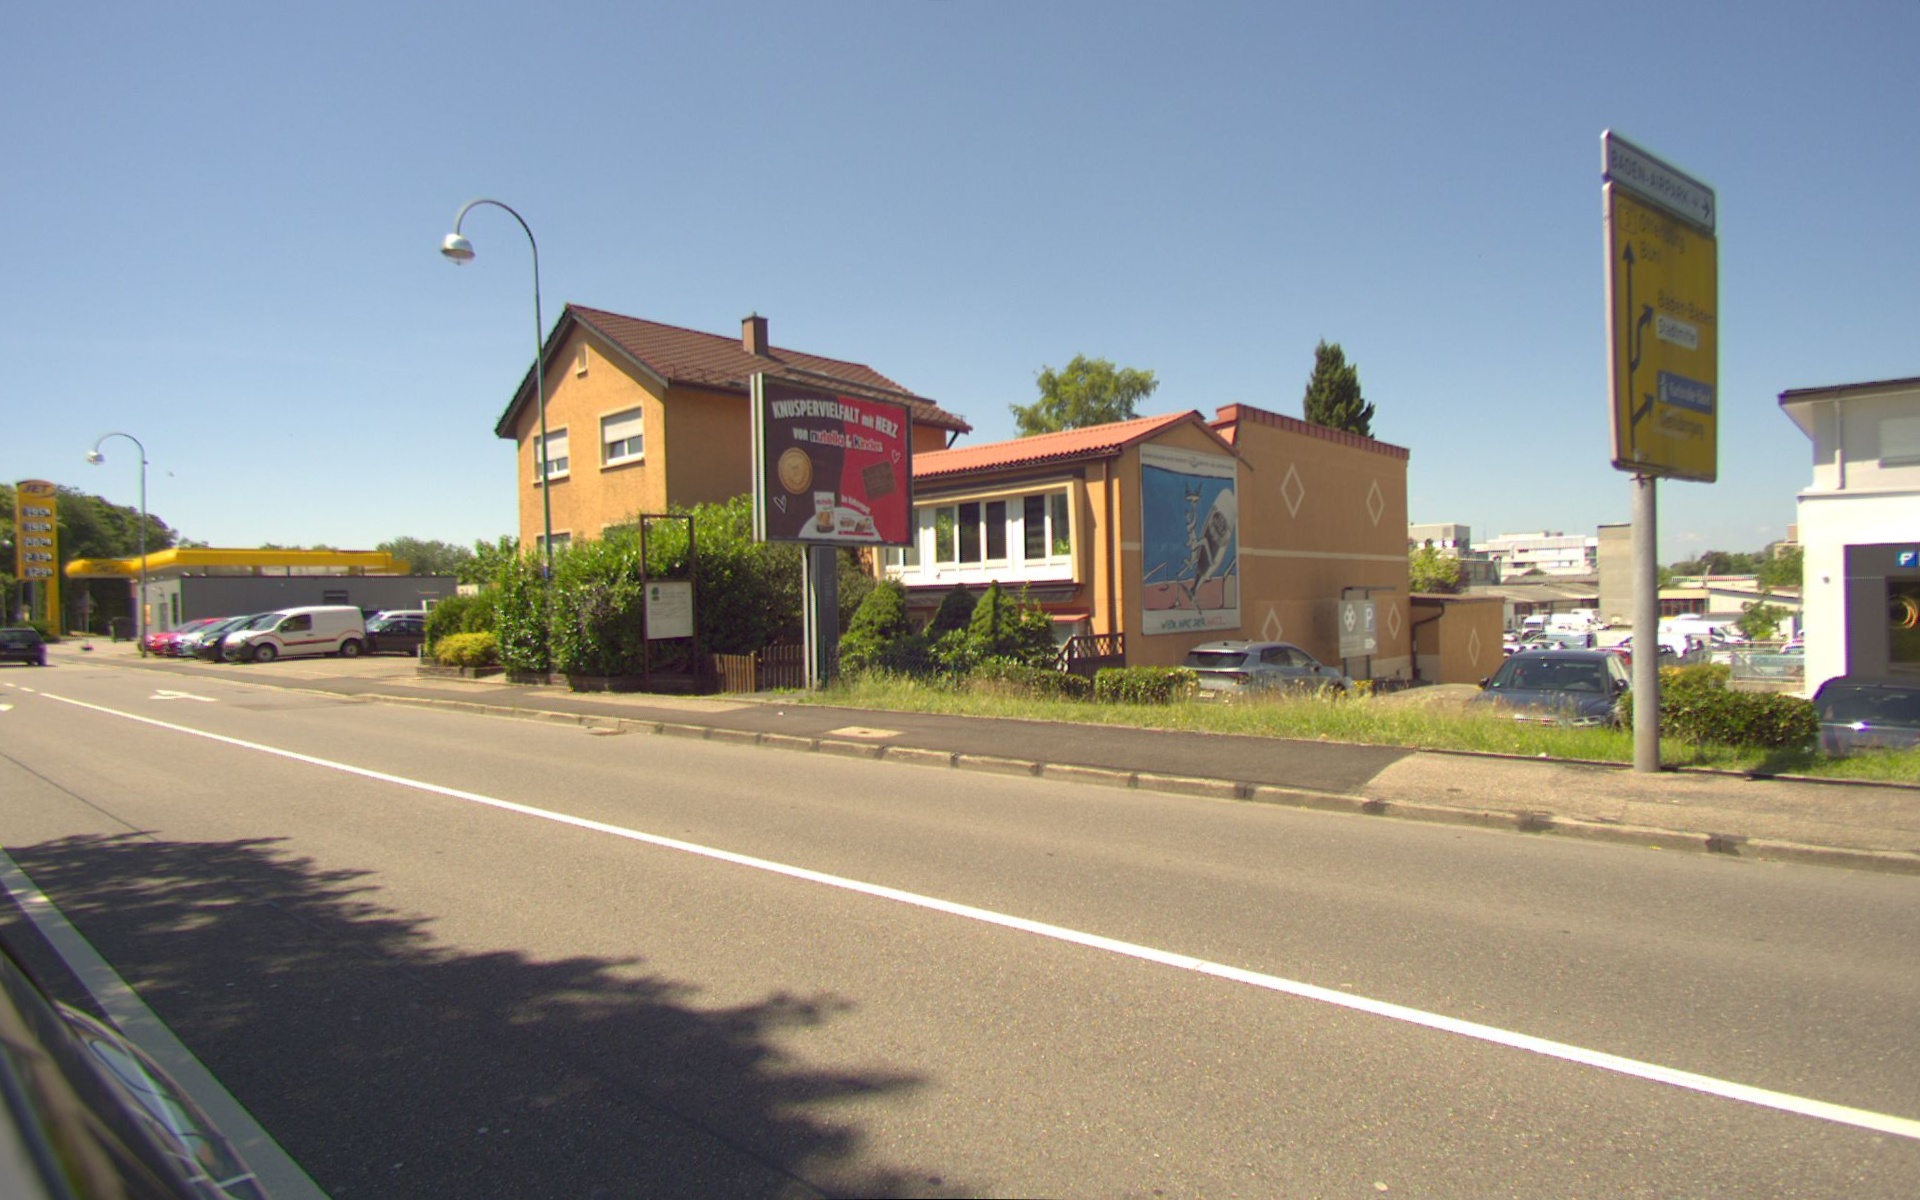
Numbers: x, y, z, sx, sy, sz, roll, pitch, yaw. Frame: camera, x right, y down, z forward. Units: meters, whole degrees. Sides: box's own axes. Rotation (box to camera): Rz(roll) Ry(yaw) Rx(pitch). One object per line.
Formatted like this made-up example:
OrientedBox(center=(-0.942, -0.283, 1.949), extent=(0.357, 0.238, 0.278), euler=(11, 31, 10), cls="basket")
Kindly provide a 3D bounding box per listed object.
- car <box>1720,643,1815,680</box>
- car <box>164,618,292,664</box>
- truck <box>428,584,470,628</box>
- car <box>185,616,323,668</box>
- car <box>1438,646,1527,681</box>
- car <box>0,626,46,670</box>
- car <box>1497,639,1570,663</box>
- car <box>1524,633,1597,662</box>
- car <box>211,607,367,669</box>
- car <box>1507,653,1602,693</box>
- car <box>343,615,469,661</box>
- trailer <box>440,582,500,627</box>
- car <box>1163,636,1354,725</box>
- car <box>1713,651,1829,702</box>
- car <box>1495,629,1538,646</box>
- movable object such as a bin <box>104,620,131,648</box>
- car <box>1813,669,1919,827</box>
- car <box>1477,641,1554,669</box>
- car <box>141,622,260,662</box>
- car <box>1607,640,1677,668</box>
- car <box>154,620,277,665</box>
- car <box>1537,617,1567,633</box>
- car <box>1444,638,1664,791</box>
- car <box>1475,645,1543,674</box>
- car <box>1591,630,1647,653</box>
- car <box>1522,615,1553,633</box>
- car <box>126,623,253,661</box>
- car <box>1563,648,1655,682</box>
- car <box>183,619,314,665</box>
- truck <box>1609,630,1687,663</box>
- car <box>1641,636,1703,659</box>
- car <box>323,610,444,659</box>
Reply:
OrientedBox(center=(42.791, 3.225, 53.653), extent=(3.812, 1.806, 1.755), euler=(-2, -1, 41), cls="car")
OrientedBox(center=(-28.131, 1.547, 38.982), extent=(1.920, 1.593, 3.628), euler=(-1, 0, 39), cls="car")
OrientedBox(center=(-39.665, 0.480, 78.489), extent=(3.188, 3.267, 1.826), euler=(-3, -1, 42), cls="truck")
OrientedBox(center=(-25.008, 1.443, 35.906), extent=(1.920, 1.685, 3.628), euler=(-1, 0, 39), cls="car")
OrientedBox(center=(28.369, 3.416, 55.022), extent=(3.998, 1.665, 1.725), euler=(-1, 0, 41), cls="car")
OrientedBox(center=(-35.012, 1.739, 37.106), extent=(4.274, 1.506, 1.692), euler=(-2, -1, 40), cls="car")
OrientedBox(center=(38.399, 3.392, 67.782), extent=(3.998, 1.486, 1.733), euler=(-1, 0, 41), cls="car")
OrientedBox(center=(40.932, 3.200, 69.037), extent=(3.998, 1.829, 1.973), euler=(-2, -1, 41), cls="car")
OrientedBox(center=(-23.090, 1.253, 34.936), extent=(1.996, 1.912, 4.057), euler=(-1, 0, 36), cls="car")
OrientedBox(center=(29.436, 3.591, 50.153), extent=(3.816, 1.740, 1.729), euler=(-1, 0, 41), cls="car")
OrientedBox(center=(-21.713, 1.451, 39.780), extent=(1.828, 1.580, 3.948), euler=(-2, 0, 39), cls="car")
OrientedBox(center=(-36.790, 0.376, 75.918), extent=(5.911, 3.244, 1.845), euler=(-2, -1, 42), cls="trailer")
OrientedBox(center=(5.883, 1.474, 19.703), extent=(3.979, 1.462, 1.782), euler=(0, -1, -43), cls="car")
OrientedBox(center=(34.973, 3.266, 43.679), extent=(3.726, 1.954, 1.881), euler=(-1, -1, -10), cls="car")
OrientedBox(center=(50.150, 3.367, 91.243), extent=(3.125, 1.395, 1.663), euler=(-1, 0, 41), cls="car")
OrientedBox(center=(-50.013, 2.032, 60.054), extent=(1.427, 1.528, 0.942), euler=(-3, 3, 42), cls="movable object such as a bin")
OrientedBox(center=(11.099, 1.619, 11.565), extent=(1.781, 1.434, 3.299), euler=(-2, -1, 45), cls="car")
OrientedBox(center=(35.364, 3.469, 64.468), extent=(3.998, 1.617, 1.812), euler=(-1, 1, 41), cls="car")
OrientedBox(center=(-31.598, 1.714, 42.175), extent=(1.890, 1.468, 3.628), euler=(-1, 0, 39), cls="car")
OrientedBox(center=(40.316, 3.179, 59.854), extent=(3.307, 1.476, 1.486), euler=(-1, 0, 41), cls="car")
OrientedBox(center=(-29.734, 1.667, 40.482), extent=(1.880, 1.617, 3.628), euler=(-1, 0, 39), cls="car")
OrientedBox(center=(64.220, 2.699, 109.808), extent=(2.000, 1.608, 3.943), euler=(-1, -1, 43), cls="car")
OrientedBox(center=(8.714, 1.487, 14.674), extent=(1.895, 1.699, 4.285), euler=(-1, 0, 42), cls="car")
OrientedBox(center=(32.837, 3.521, 60.598), extent=(3.321, 1.558, 1.509), euler=(-1, 0, 41), cls="car")
OrientedBox(center=(46.905, 2.913, 72.034), extent=(3.125, 1.545, 1.663), euler=(-1, 0, 41), cls="car")
OrientedBox(center=(65.974, 2.731, 115.640), extent=(3.939, 1.843, 2.002), euler=(-1, 0, -42), cls="car")
OrientedBox(center=(-33.268, 1.759, 43.770), extent=(1.825, 1.455, 4.084), euler=(-1, 0, 40), cls="car")
OrientedBox(center=(35.573, 3.545, 55.504), extent=(3.998, 1.648, 1.824), euler=(-1, -1, 41), cls="car")
OrientedBox(center=(-26.459, 1.527, 37.702), extent=(1.920, 1.543, 3.628), euler=(-1, 0, 39), cls="car")
OrientedBox(center=(44.569, 2.987, 65.575), extent=(3.982, 1.992, 1.663), euler=(-1, 0, 41), cls="truck")
OrientedBox(center=(43.967, 2.925, 62.496), extent=(3.042, 1.309, 1.288), euler=(-1, 0, 41), cls="car")
OrientedBox(center=(-23.384, 1.371, 41.146), extent=(1.998, 1.875, 3.864), euler=(-2, -1, 39), cls="car")
